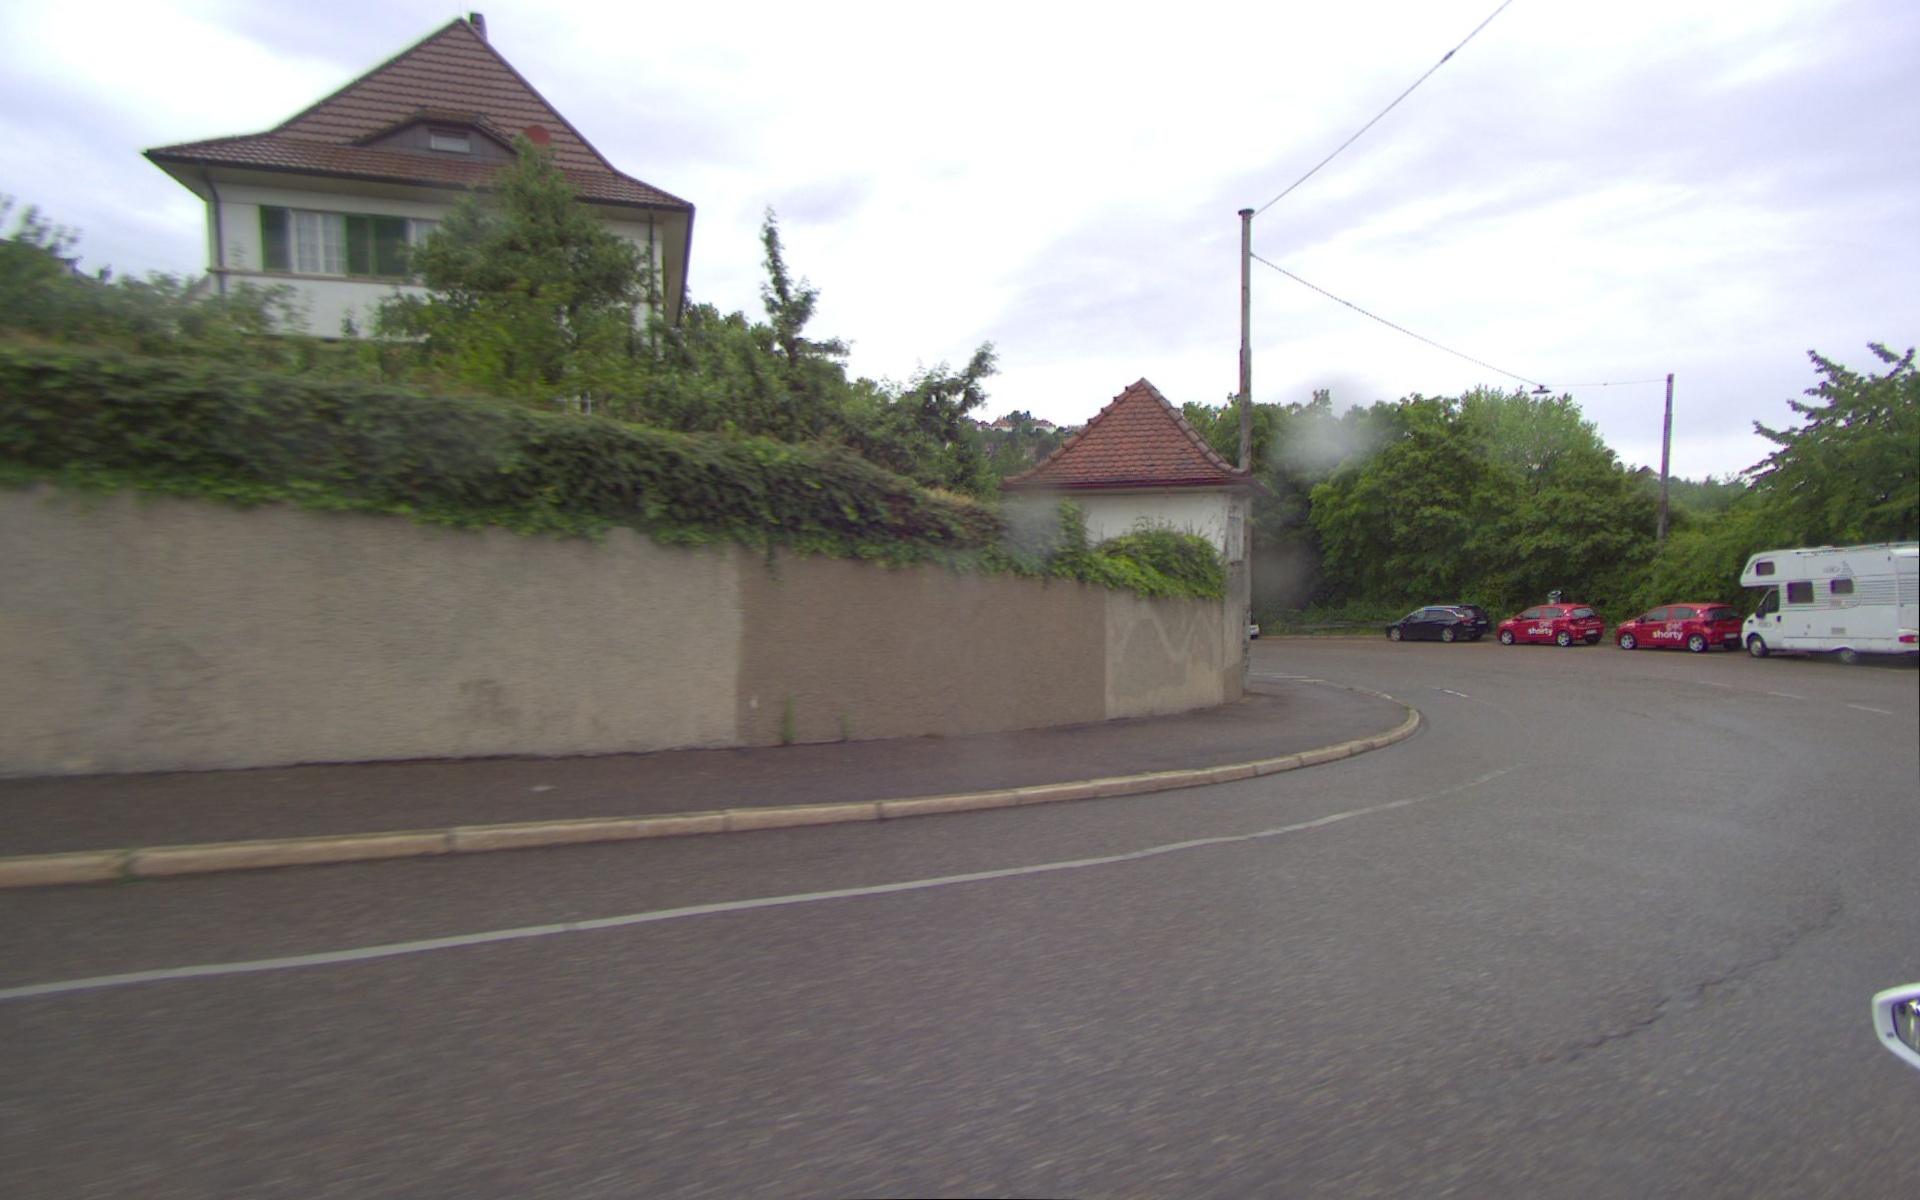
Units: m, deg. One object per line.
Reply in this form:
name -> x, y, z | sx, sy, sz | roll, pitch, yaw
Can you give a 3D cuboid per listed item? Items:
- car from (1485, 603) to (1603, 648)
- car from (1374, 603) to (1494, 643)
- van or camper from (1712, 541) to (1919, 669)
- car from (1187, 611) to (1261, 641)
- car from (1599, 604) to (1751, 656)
car -> 21.722, 0.907, 37.507 | 1.540, 1.534, 3.658 | -3, 1, -20
car -> 19.886, 0.950, 42.349 | 1.700, 1.533, 4.568 | -3, 1, -24
van or camper -> 23.424, 0.073, 26.685 | 2.349, 2.983, 6.283 | -3, 0, 4
car -> 13.975, 1.412, 53.371 | 1.575, 1.521, 3.630 | -1, -2, -36
car -> 23.070, 0.927, 32.572 | 1.619, 1.480, 3.794 | -4, 0, -15
